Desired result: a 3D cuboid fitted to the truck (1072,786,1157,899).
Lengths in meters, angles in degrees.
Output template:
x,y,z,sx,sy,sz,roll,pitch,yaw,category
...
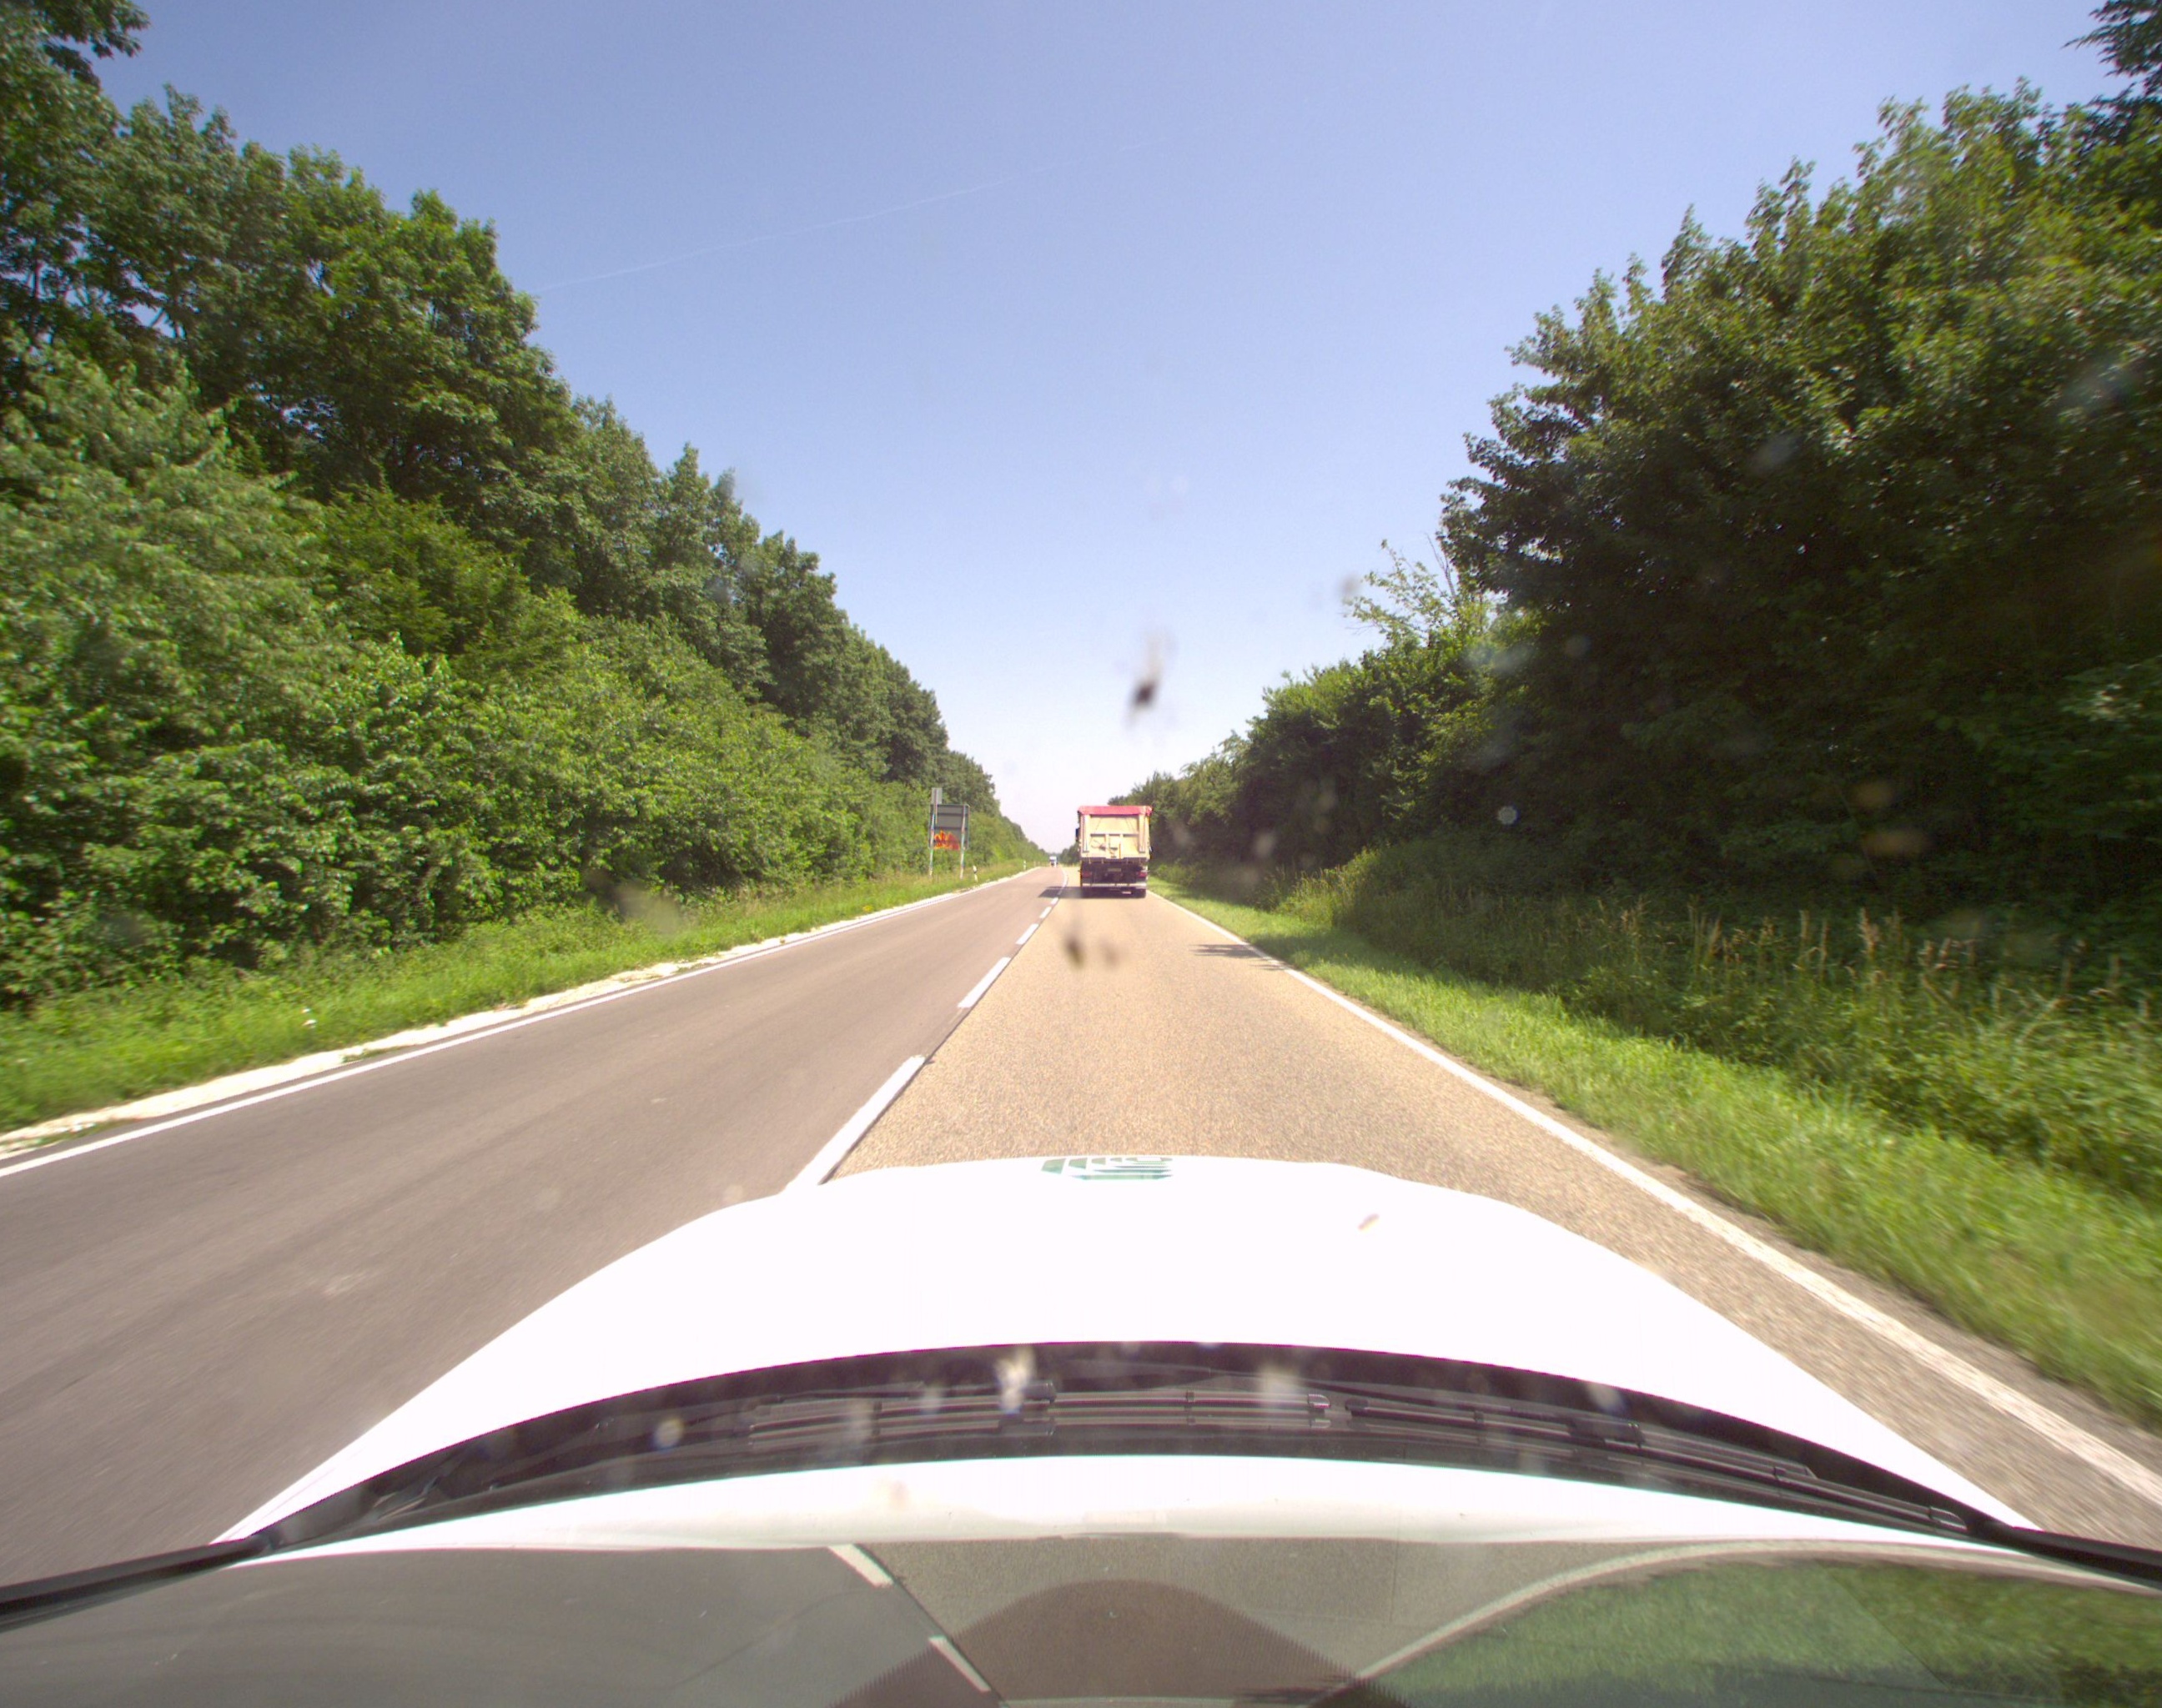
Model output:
x,y,z,sx,sy,sz,roll,pitch,yaw,category
1.108,-0.405,34.717,2.885,3.962,11.925,0,0,-1,truck
